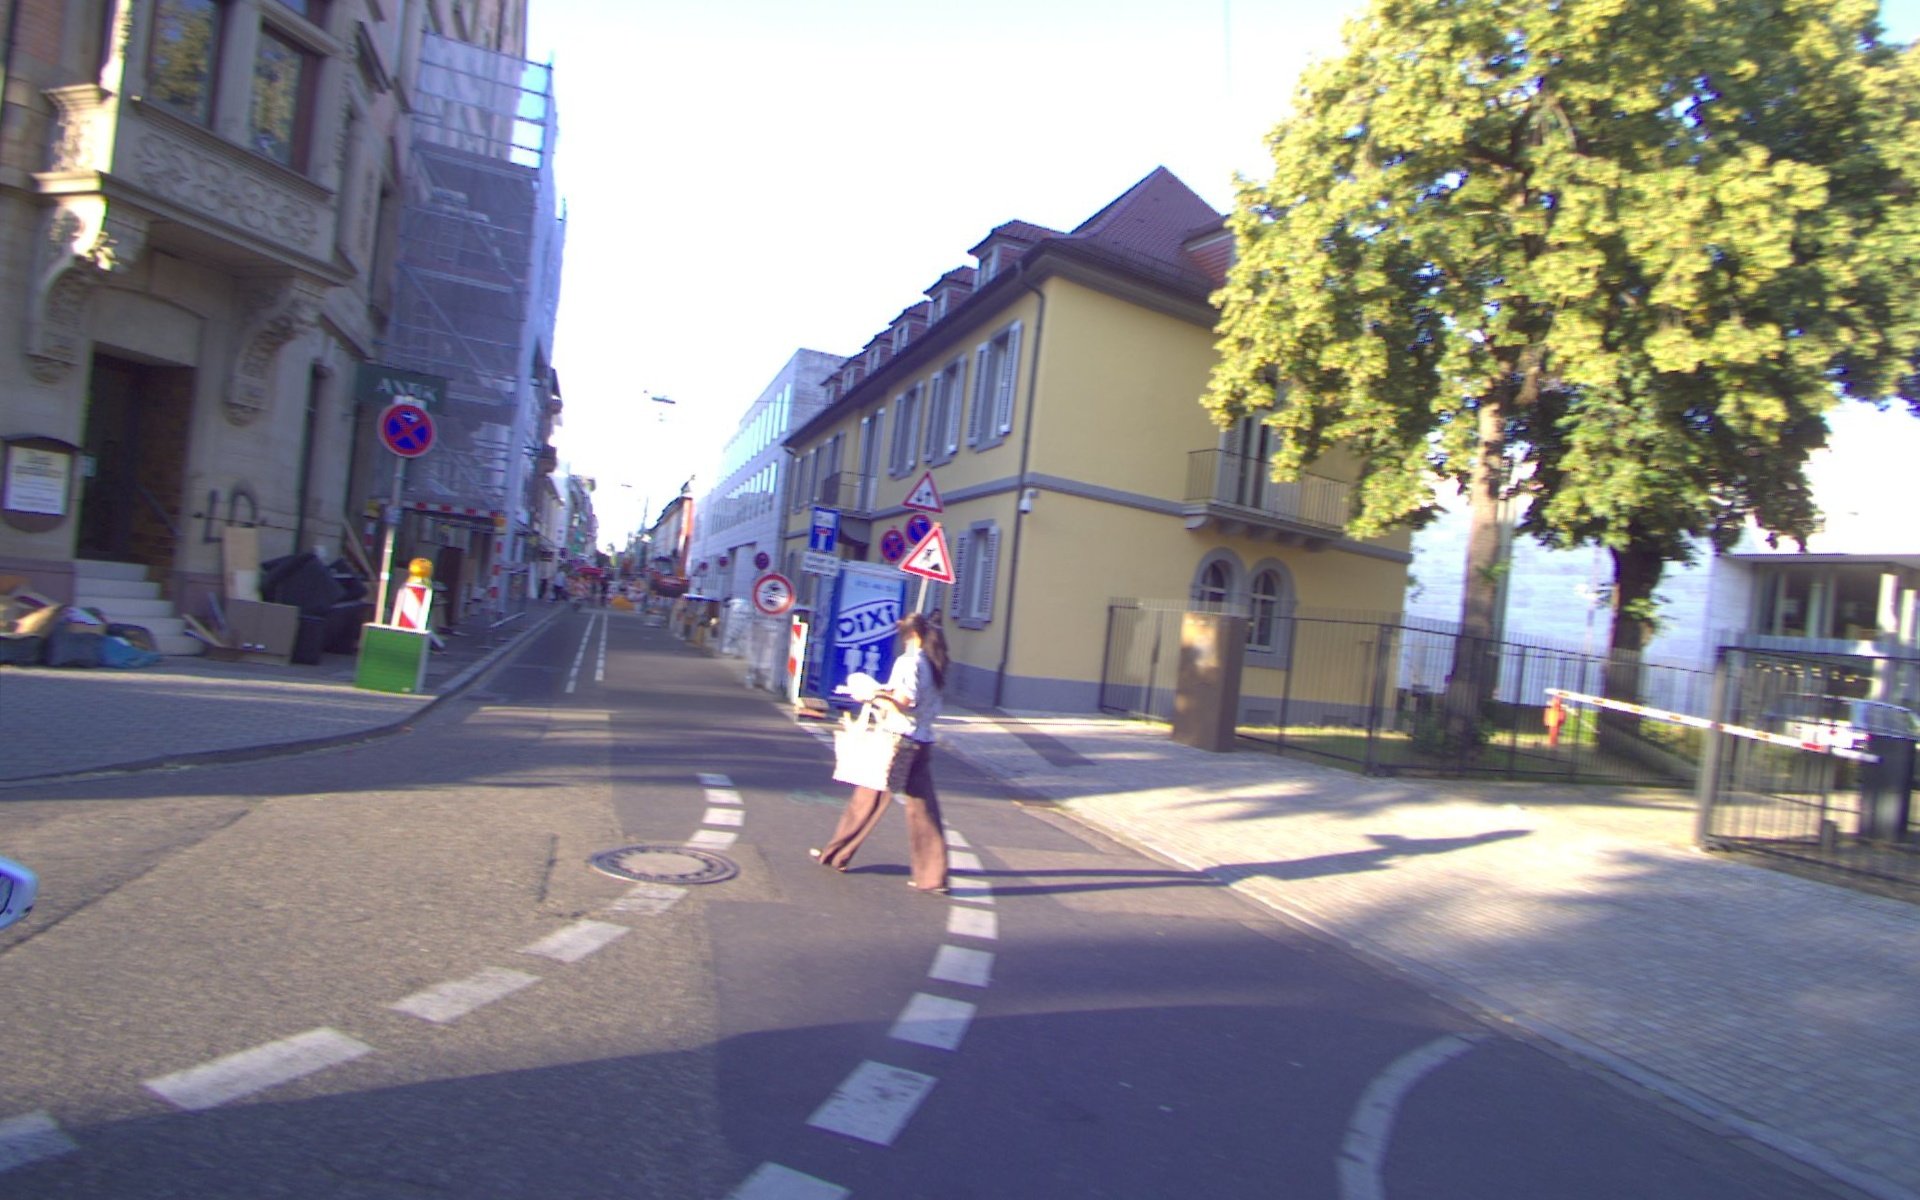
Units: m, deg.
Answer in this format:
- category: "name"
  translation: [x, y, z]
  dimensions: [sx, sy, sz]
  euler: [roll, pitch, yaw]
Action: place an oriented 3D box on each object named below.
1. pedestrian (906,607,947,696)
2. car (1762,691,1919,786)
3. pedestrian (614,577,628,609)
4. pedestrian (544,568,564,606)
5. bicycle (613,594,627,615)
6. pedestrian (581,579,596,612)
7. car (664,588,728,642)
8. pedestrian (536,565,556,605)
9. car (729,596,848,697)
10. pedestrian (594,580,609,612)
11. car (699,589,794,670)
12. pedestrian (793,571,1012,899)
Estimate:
- category: "pedestrian"
  translation: [-0.648, 0.978, 19.278]
  dimensions: [0.461, 1.614, 0.670]
  euler: [6, 0, -18]
- category: "car"
  translation: [20.785, 3.227, 23.283]
  dimensions: [4.011, 1.759, 1.698]
  euler: [6, 2, -25]
- category: "pedestrian"
  translation: [-16.346, -0.343, 48.535]
  dimensions: [0.499, 1.479, 0.510]
  euler: [6, 0, -21]
- category: "pedestrian"
  translation: [-19.644, -0.619, 48.650]
  dimensions: [0.504, 1.786, 0.505]
  euler: [6, 0, 29]
- category: "bicycle"
  translation: [-16.413, 0.208, 48.572]
  dimensions: [0.499, 0.895, 1.470]
  euler: [6, 0, -20]
- category: "pedestrian"
  translation: [-17.088, -0.197, 46.254]
  dimensions: [0.499, 1.479, 0.510]
  euler: [6, 0, -20]
- category: "car"
  translation: [-9.050, 0.478, 34.351]
  dimensions: [1.699, 1.538, 3.207]
  euler: [7, -1, -20]
- category: "pedestrian"
  translation: [-18.905, -0.676, 45.904]
  dimensions: [0.669, 1.753, 0.696]
  euler: [7, -1, -23]
- category: "car"
  translation: [-3.323, 0.824, 19.096]
  dimensions: [1.524, 1.538, 3.207]
  euler: [8, -1, -20]
- category: "pedestrian"
  translation: [-17.227, -0.196, 48.395]
  dimensions: [0.498, 1.479, 0.511]
  euler: [6, 0, -14]
- category: "car"
  translation: [-5.072, 0.629, 23.519]
  dimensions: [1.523, 1.538, 3.962]
  euler: [6, -1, -20]
- category: "pedestrian"
  translation: [-0.317, 0.737, 5.851]
  dimensions: [0.942, 1.679, 0.639]
  euler: [6, 0, 18]
